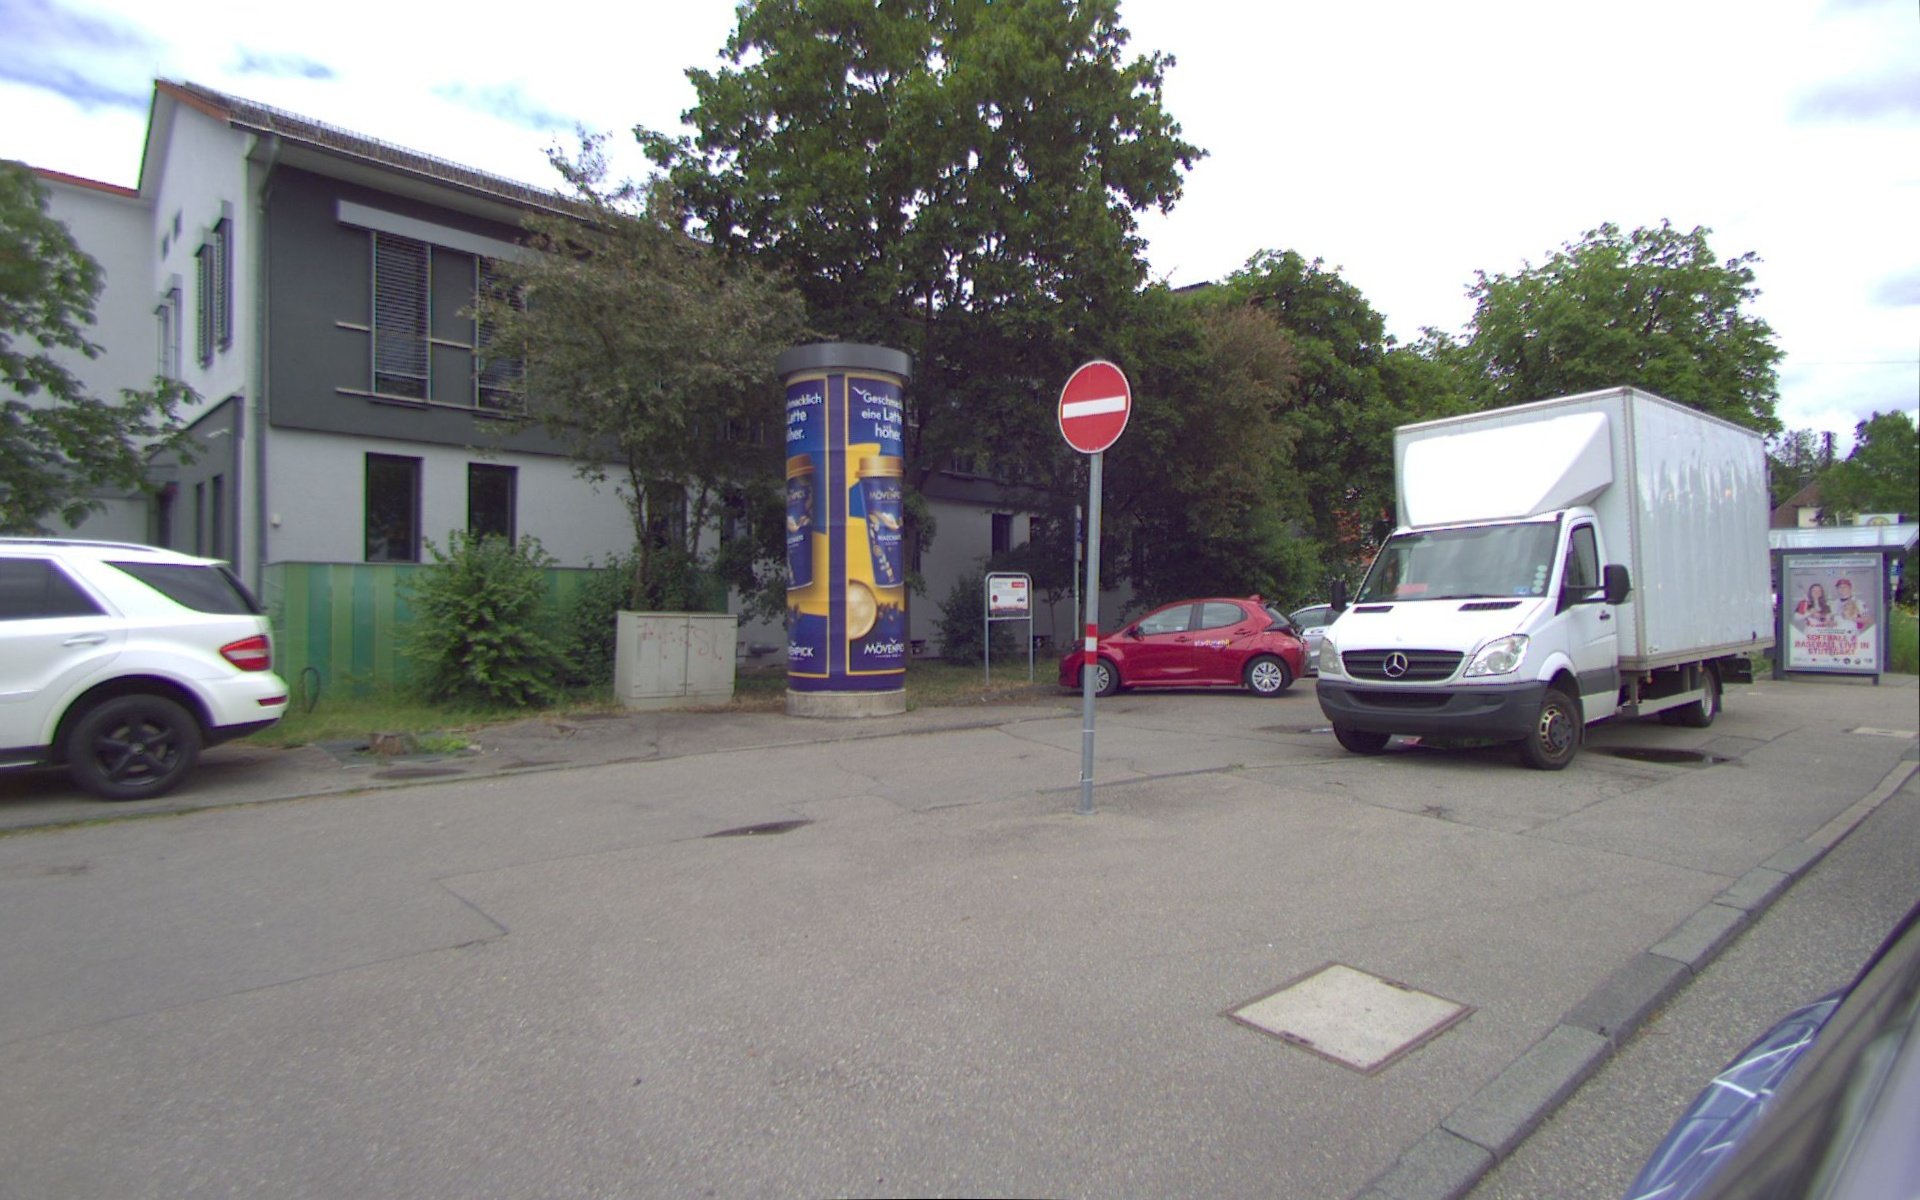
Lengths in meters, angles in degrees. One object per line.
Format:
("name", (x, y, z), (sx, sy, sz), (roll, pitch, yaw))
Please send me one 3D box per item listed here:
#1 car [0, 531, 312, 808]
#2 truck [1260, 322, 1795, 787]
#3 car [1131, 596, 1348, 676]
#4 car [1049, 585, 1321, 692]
("car", (-7.240, 0.446, 6.816), (4.640, 1.780, 1.855), (0, 0, -41))
("truck", (6.562, -0.398, 11.004), (7.638, 3.469, 2.540), (-1, 0, -40))
("car", (5.499, 0.710, 20.080), (3.946, 1.428, 1.516), (-2, -1, 18))
("car", (3.508, 0.612, 15.826), (3.856, 1.502, 1.669), (-2, -1, 25))
